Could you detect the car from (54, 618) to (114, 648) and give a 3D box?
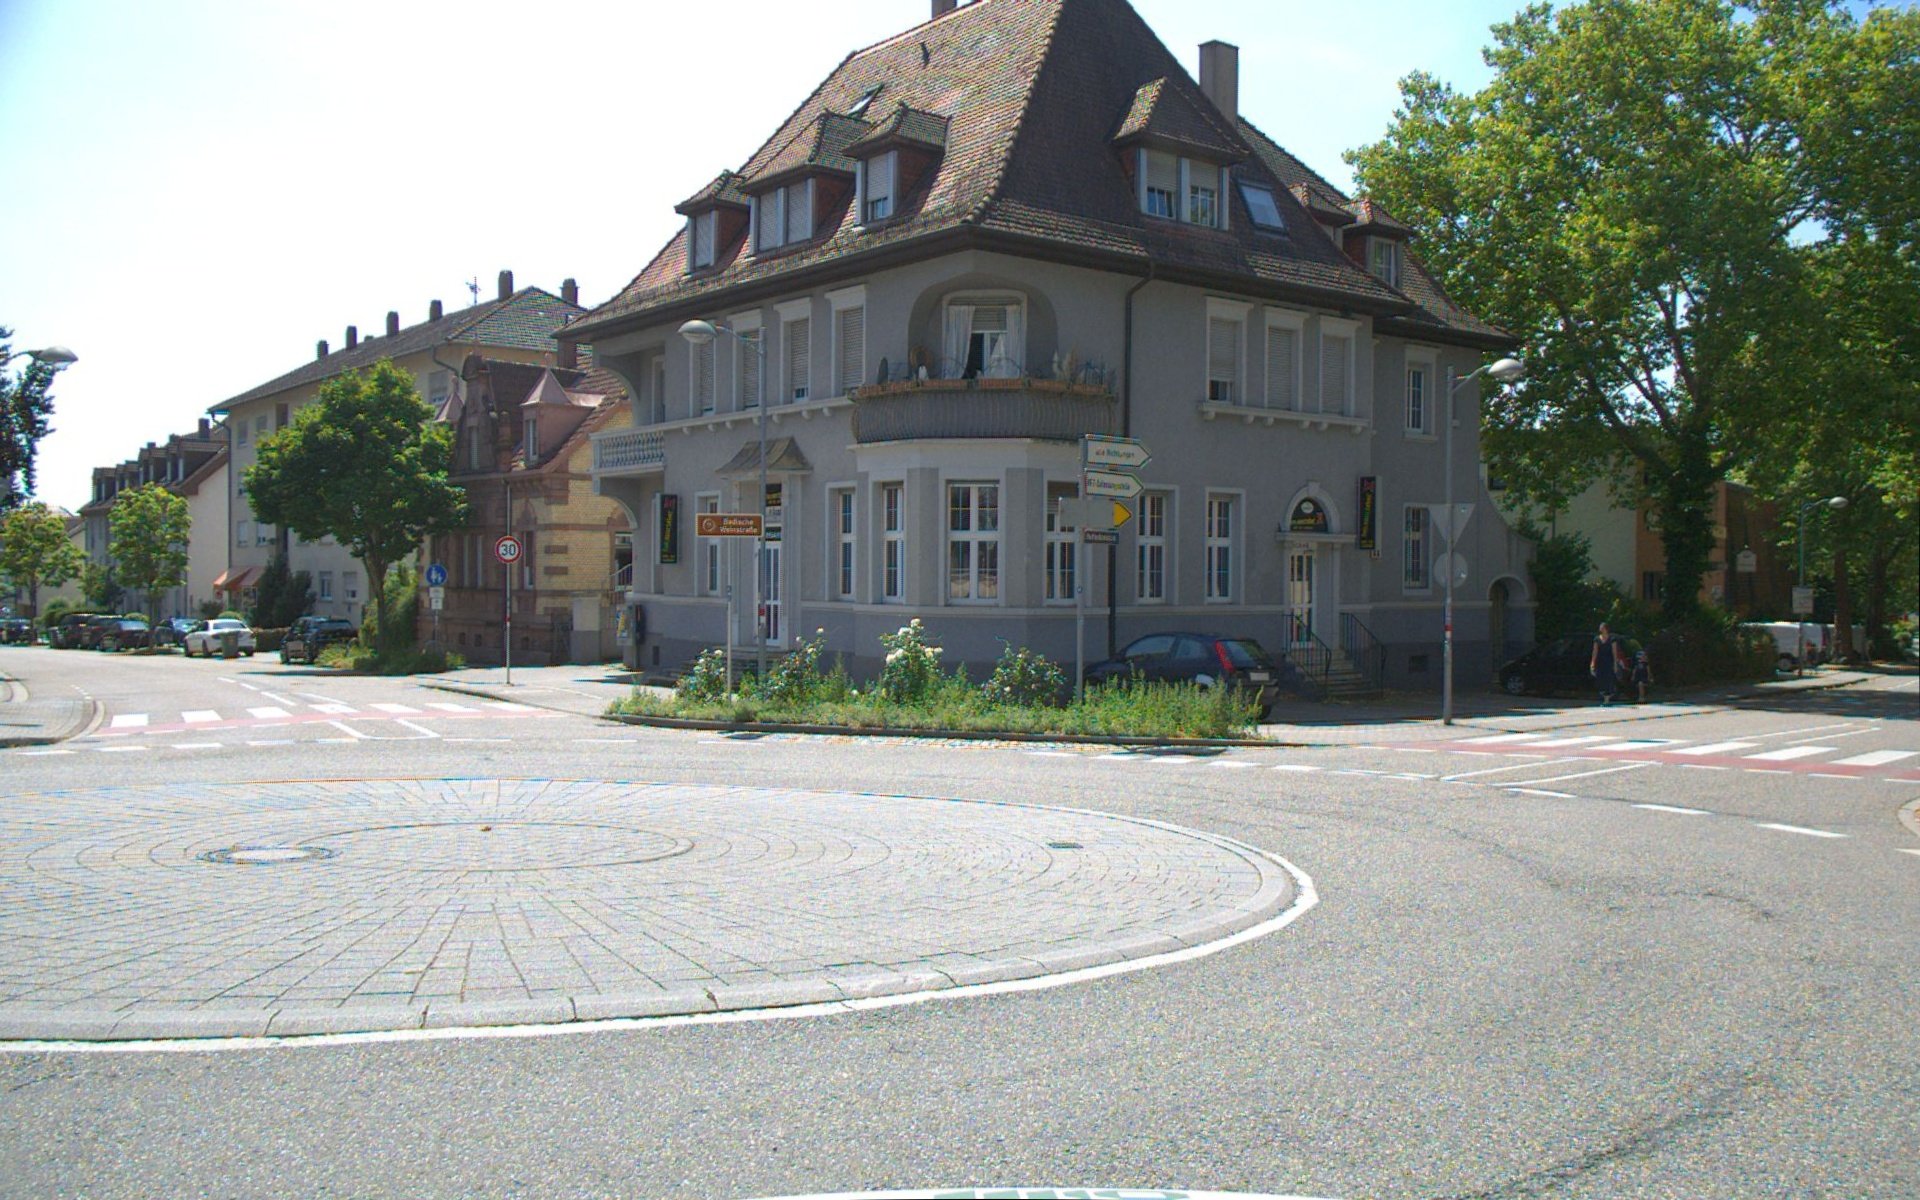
[{"bbox_3d":[-46.140,1.728,87.094,1.980,1.535,4.357,1,-1,-39],"label":"car"}]

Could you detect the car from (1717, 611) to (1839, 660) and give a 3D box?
[{"bbox_3d":[34.566,1.489,69.931,4.347,1.835,1.897,3,0,34],"label":"car"}]

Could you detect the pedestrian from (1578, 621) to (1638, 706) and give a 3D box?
[{"bbox_3d":[13.863,1.345,35.365,0.859,1.773,1.105,0,-2,43],"label":"pedestrian"}]

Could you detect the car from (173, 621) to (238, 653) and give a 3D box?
[{"bbox_3d":[-38.162,1.846,83.652,1.980,1.535,4.357,1,-1,-39],"label":"car"}]

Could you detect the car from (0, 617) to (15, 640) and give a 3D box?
[{"bbox_3d":[-65.617,1.912,112.113,1.980,1.535,4.357,1,-1,-39],"label":"car"}]

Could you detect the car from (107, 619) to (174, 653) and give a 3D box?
[{"bbox_3d":[-38.916,1.683,78.496,1.980,1.535,4.357,1,-1,-39],"label":"car"}]

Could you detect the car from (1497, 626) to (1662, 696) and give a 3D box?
[{"bbox_3d":[14.878,1.444,39.799,1.710,1.574,3.339,2,-1,-43],"label":"car"}]

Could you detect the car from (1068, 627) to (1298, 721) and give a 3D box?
[{"bbox_3d":[3.789,1.226,28.493,1.710,1.486,3.733,2,-1,-43],"label":"car"}]

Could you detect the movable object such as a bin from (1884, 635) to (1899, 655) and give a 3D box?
[{"bbox_3d":[50.845,2.434,90.258,0.615,1.067,0.616,0,-1,43],"label":"movable object such as a bin"}]

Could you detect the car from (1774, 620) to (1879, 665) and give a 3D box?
[{"bbox_3d":[39.888,1.931,76.144,4.057,1.835,1.897,3,0,34],"label":"car"}]

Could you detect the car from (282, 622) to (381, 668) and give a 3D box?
[{"bbox_3d":[-21.876,1.537,57.478,1.980,1.535,4.357,1,-1,-39],"label":"car"}]

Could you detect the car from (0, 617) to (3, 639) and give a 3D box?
[{"bbox_3d":[-68.871,1.905,116.429,1.980,1.514,3.945,3,-2,-38],"label":"car"}]

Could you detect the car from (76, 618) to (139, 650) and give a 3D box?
[{"bbox_3d":[-42.855,1.707,83.147,1.980,1.535,4.357,1,-1,-39],"label":"car"}]

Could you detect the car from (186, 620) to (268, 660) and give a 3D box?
[{"bbox_3d":[-29.574,1.599,66.693,1.980,1.535,4.357,1,-1,-39],"label":"car"}]

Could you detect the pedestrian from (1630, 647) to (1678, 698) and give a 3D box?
[{"bbox_3d":[15.909,1.643,37.898,0.890,1.141,0.744,2,-2,-44],"label":"pedestrian"}]

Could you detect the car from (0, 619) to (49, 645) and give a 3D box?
[{"bbox_3d":[-58.444,1.987,103.309,1.980,1.535,4.357,1,-1,-39],"label":"car"}]

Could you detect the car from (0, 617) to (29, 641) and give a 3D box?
[{"bbox_3d":[-62.301,1.882,107.901,1.980,1.535,4.357,1,-1,-39],"label":"car"}]

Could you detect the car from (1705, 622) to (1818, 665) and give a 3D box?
[{"bbox_3d":[32.893,1.754,67.893,3.918,1.541,1.862,3,0,34],"label":"car"}]

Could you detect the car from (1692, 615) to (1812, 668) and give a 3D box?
[{"bbox_3d":[30.639,1.583,64.000,3.918,1.824,1.862,3,0,34],"label":"car"}]
